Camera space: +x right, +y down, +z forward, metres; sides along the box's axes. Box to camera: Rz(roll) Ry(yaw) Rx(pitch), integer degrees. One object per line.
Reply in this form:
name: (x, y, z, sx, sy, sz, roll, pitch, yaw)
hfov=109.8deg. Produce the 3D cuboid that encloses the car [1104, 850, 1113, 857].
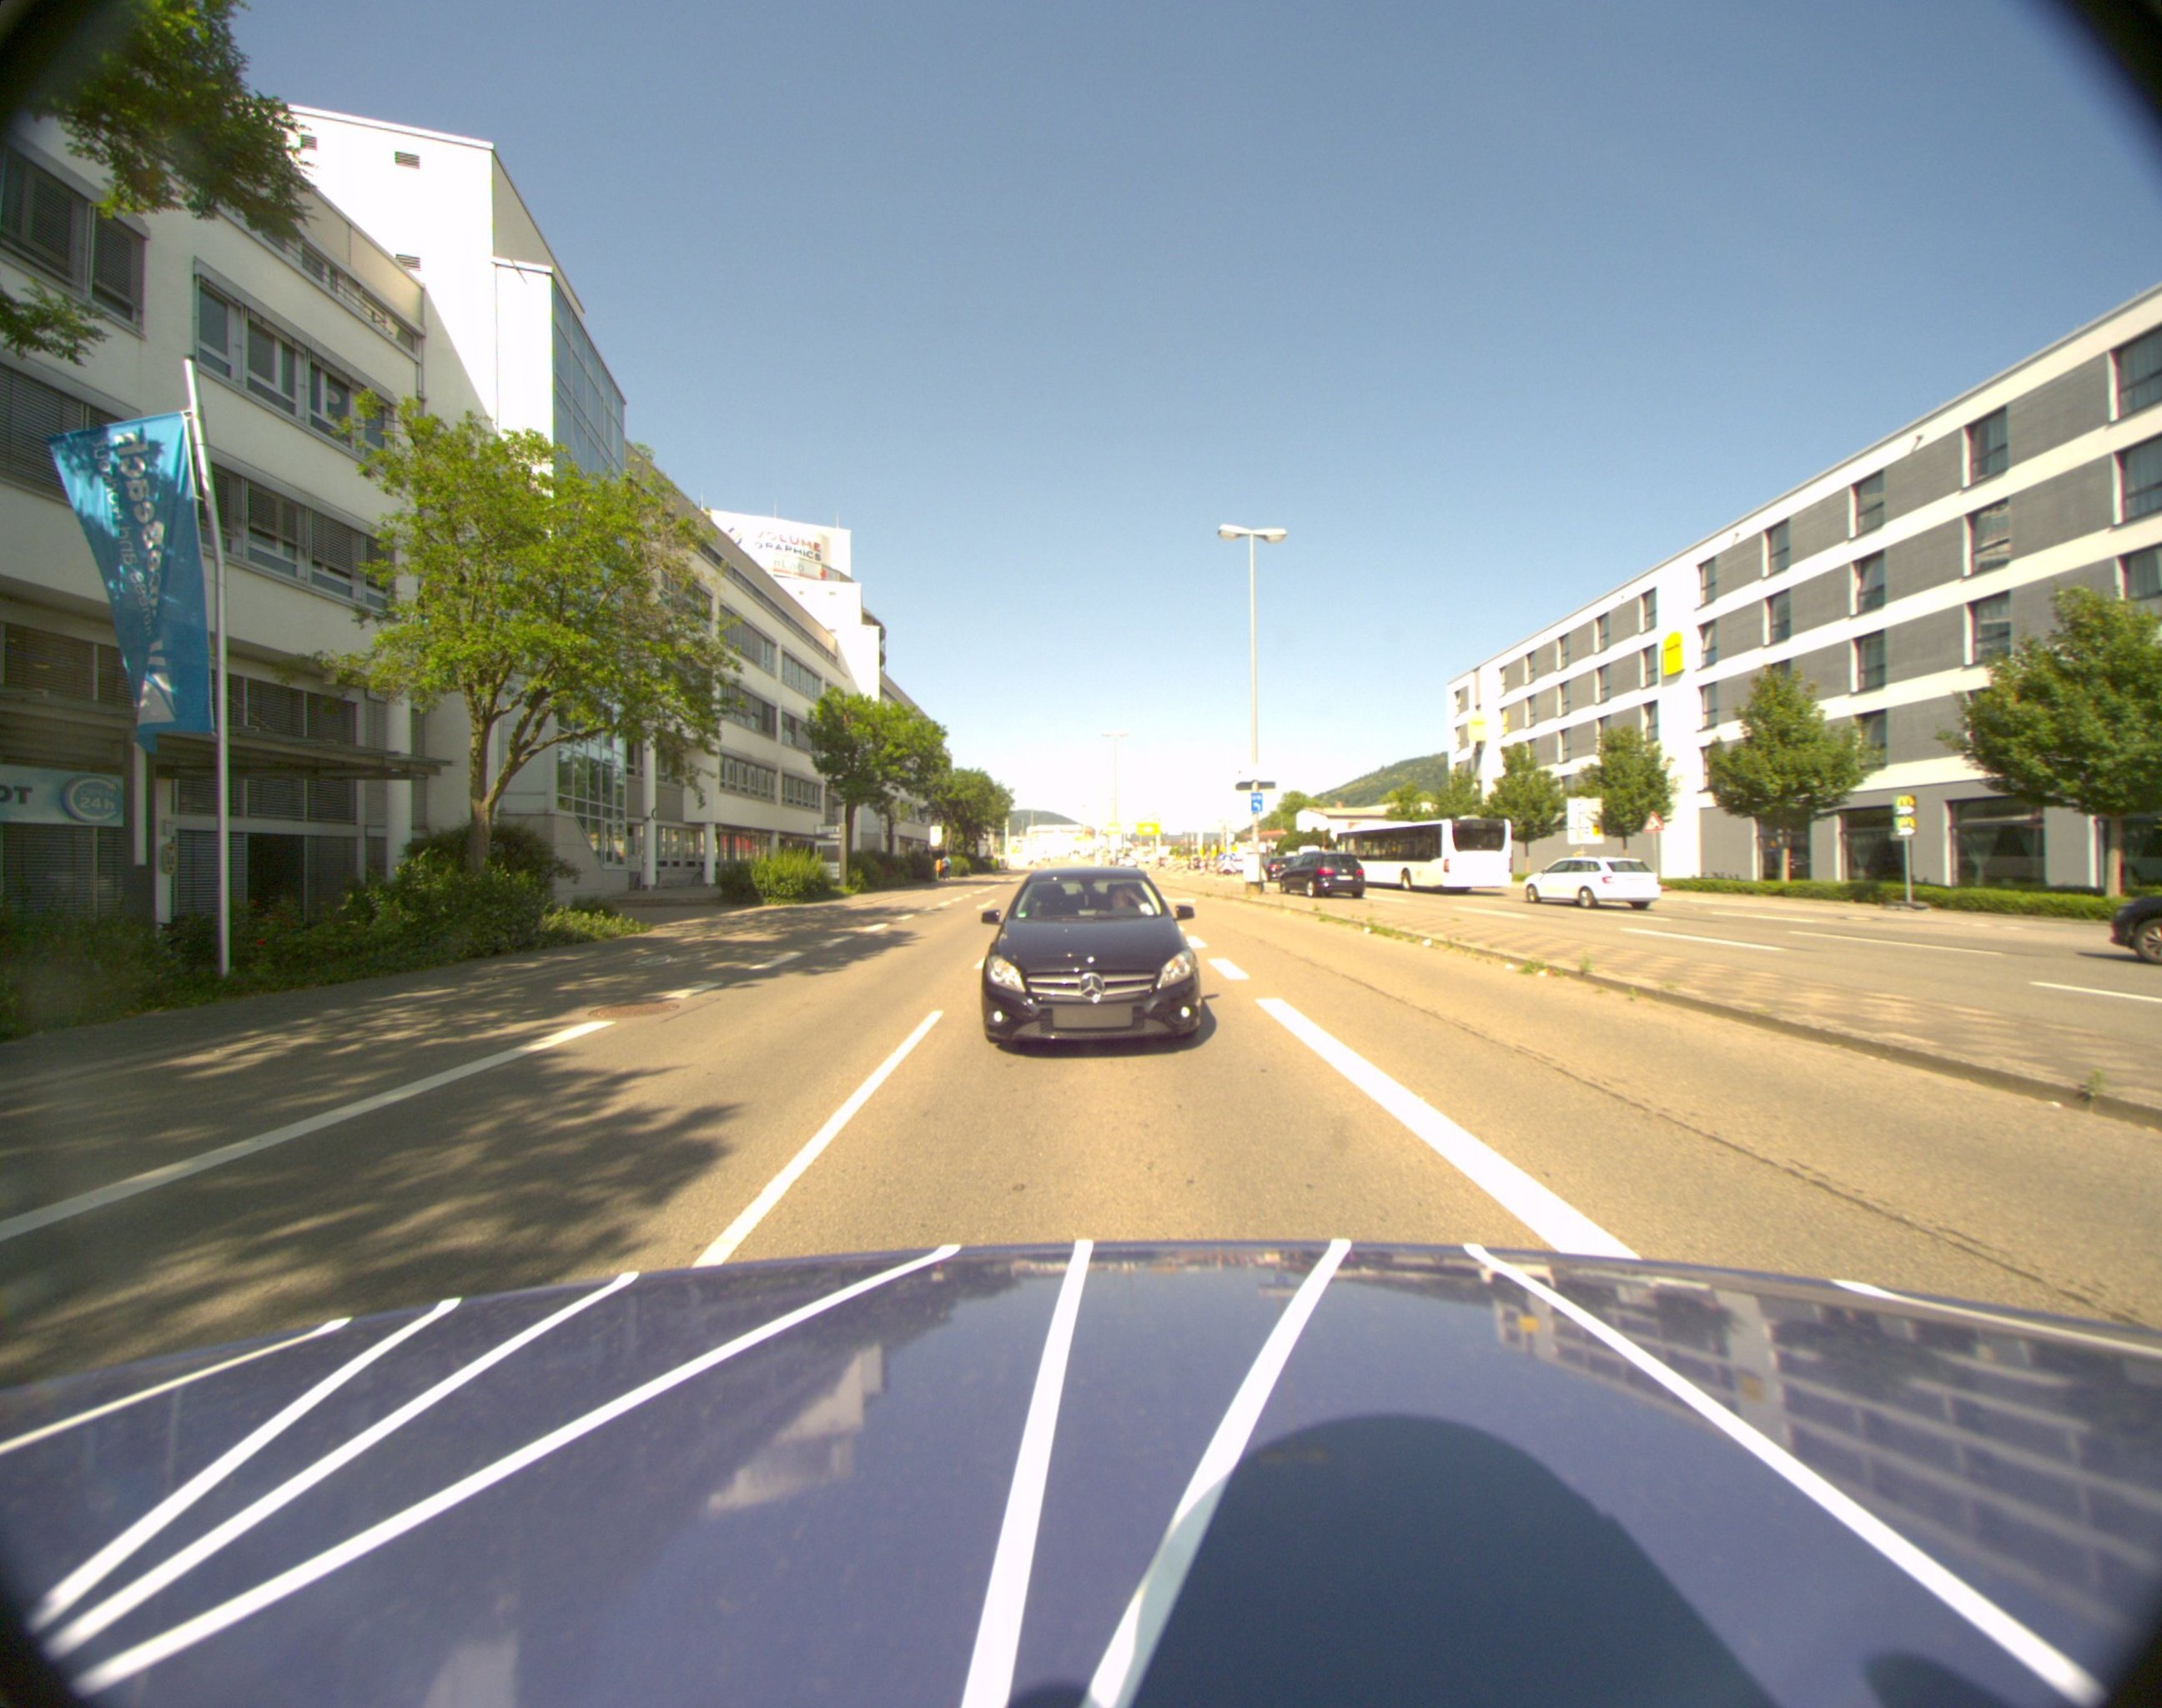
car: (8.065, -0.068, 224.161, 1.999, 2.002, 3.998, -1, 0, -4)

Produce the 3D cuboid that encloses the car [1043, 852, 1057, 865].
car: (-5.428, 0.790, 132.325, 1.998, 2.002, 4.000, -2, 1, 2)

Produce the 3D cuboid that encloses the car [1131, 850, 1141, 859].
car: (12.506, 0.110, 172.537, 1.999, 2.002, 3.999, 0, 0, -1)

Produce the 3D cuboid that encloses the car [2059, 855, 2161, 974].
car: (15.300, 0.819, 8.905, 1.998, 1.568, 4.412, 0, 0, 1)

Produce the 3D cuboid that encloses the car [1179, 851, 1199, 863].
car: (14.330, 0.423, 100.962, 1.998, 1.514, 4.891, -1, 0, 1)

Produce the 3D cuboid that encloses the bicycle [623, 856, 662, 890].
bicycle: (-18.059, 0.769, 31.340, 0.506, 1.346, 1.884, -1, 0, 1)

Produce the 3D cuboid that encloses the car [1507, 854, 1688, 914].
car: (14.866, 0.808, 22.255, 1.999, 1.477, 4.410, 2, 1, -5)

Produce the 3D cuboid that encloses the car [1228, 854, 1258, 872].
car: (14.859, 0.795, 69.948, 1.719, 1.609, 3.590, -1, 0, -5)

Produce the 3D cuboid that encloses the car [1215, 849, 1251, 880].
car: (10.739, 0.713, 53.788, 1.679, 2.002, 4.164, -2, 1, 1)

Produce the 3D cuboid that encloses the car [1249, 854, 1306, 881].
car: (11.343, 0.735, 44.238, 1.998, 1.424, 4.890, -1, 0, 0)

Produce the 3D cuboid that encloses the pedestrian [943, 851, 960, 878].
pedestrian: (-9.194, 0.734, 53.911, 0.942, 1.875, 1.289, 2, 1, 0)

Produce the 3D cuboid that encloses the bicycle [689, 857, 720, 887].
bicycle: (-17.718, 0.817, 35.775, 0.506, 1.346, 1.884, -1, 0, 1)

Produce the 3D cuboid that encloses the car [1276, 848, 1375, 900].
car: (8.286, 0.636, 26.121, 1.890, 1.608, 4.133, -1, 0, -3)

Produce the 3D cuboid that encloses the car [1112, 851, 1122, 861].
car: (7.692, 0.471, 162.433, 1.998, 2.002, 3.999, -2, 1, 1)

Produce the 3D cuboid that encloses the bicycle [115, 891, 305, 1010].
bicycle: (-11.286, 1.189, 9.955, 0.506, 1.321, 1.883, 0, 0, -8)

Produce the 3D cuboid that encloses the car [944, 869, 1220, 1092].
car: (0.035, 0.929, 7.643, 1.905, 1.431, 4.693, -1, 0, 1)

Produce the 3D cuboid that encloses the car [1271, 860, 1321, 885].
car: (14.246, 1.167, 50.598, 1.998, 1.514, 4.891, -1, 0, 1)

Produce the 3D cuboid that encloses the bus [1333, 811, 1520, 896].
bus: (14.639, -0.044, 33.801, 2.745, 3.061, 11.974, 1, 0, 0)
